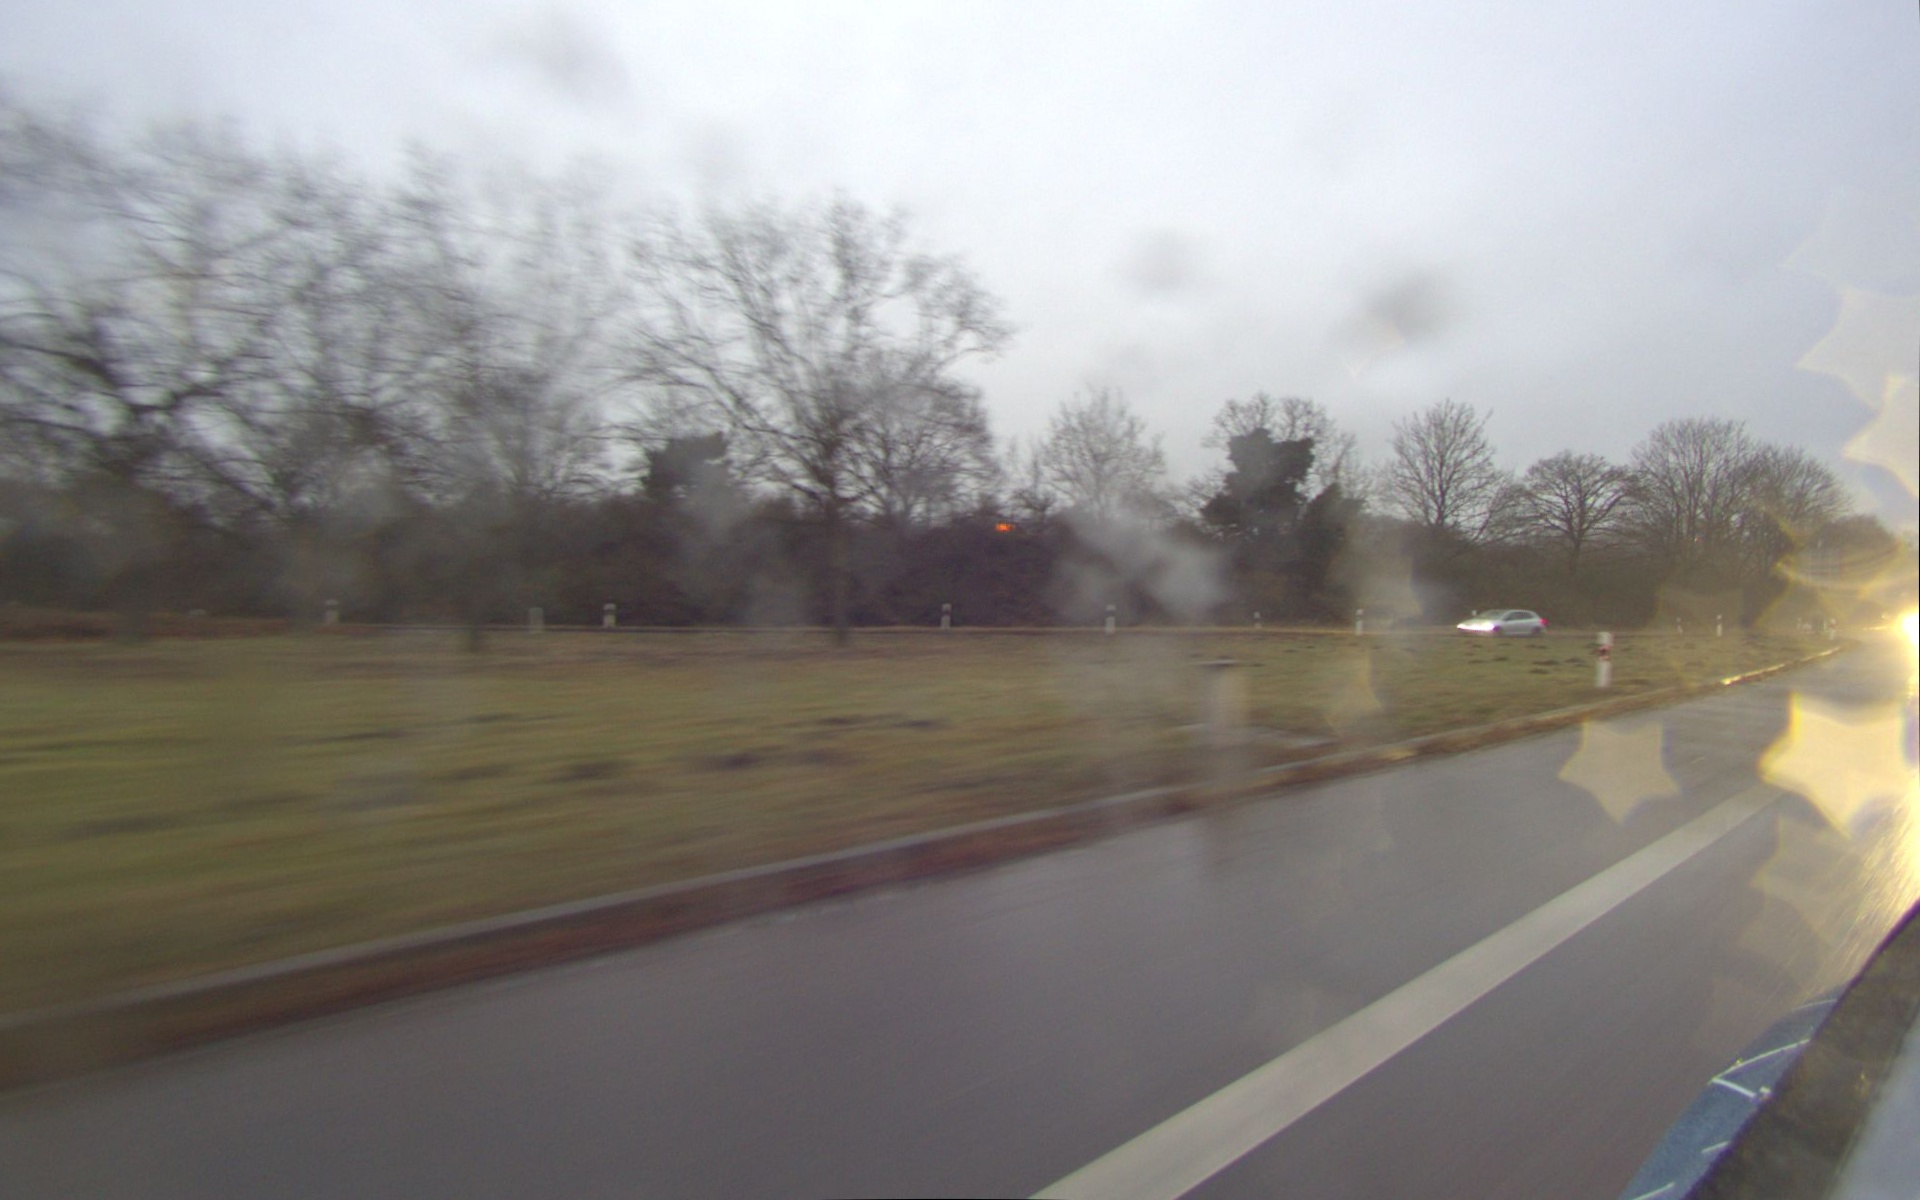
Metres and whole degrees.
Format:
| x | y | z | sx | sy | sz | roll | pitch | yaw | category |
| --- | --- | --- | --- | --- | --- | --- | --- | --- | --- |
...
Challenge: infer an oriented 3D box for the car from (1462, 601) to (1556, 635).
| x | y | z | sx | sy | sz | roll | pitch | yaw | category |
| --- | --- | --- | --- | --- | --- | --- | --- | --- | --- |
| 25.214 | 0.807 | 46.511 | 3.711 | 1.452 | 1.733 | 0 | 1 | -19 | car |
